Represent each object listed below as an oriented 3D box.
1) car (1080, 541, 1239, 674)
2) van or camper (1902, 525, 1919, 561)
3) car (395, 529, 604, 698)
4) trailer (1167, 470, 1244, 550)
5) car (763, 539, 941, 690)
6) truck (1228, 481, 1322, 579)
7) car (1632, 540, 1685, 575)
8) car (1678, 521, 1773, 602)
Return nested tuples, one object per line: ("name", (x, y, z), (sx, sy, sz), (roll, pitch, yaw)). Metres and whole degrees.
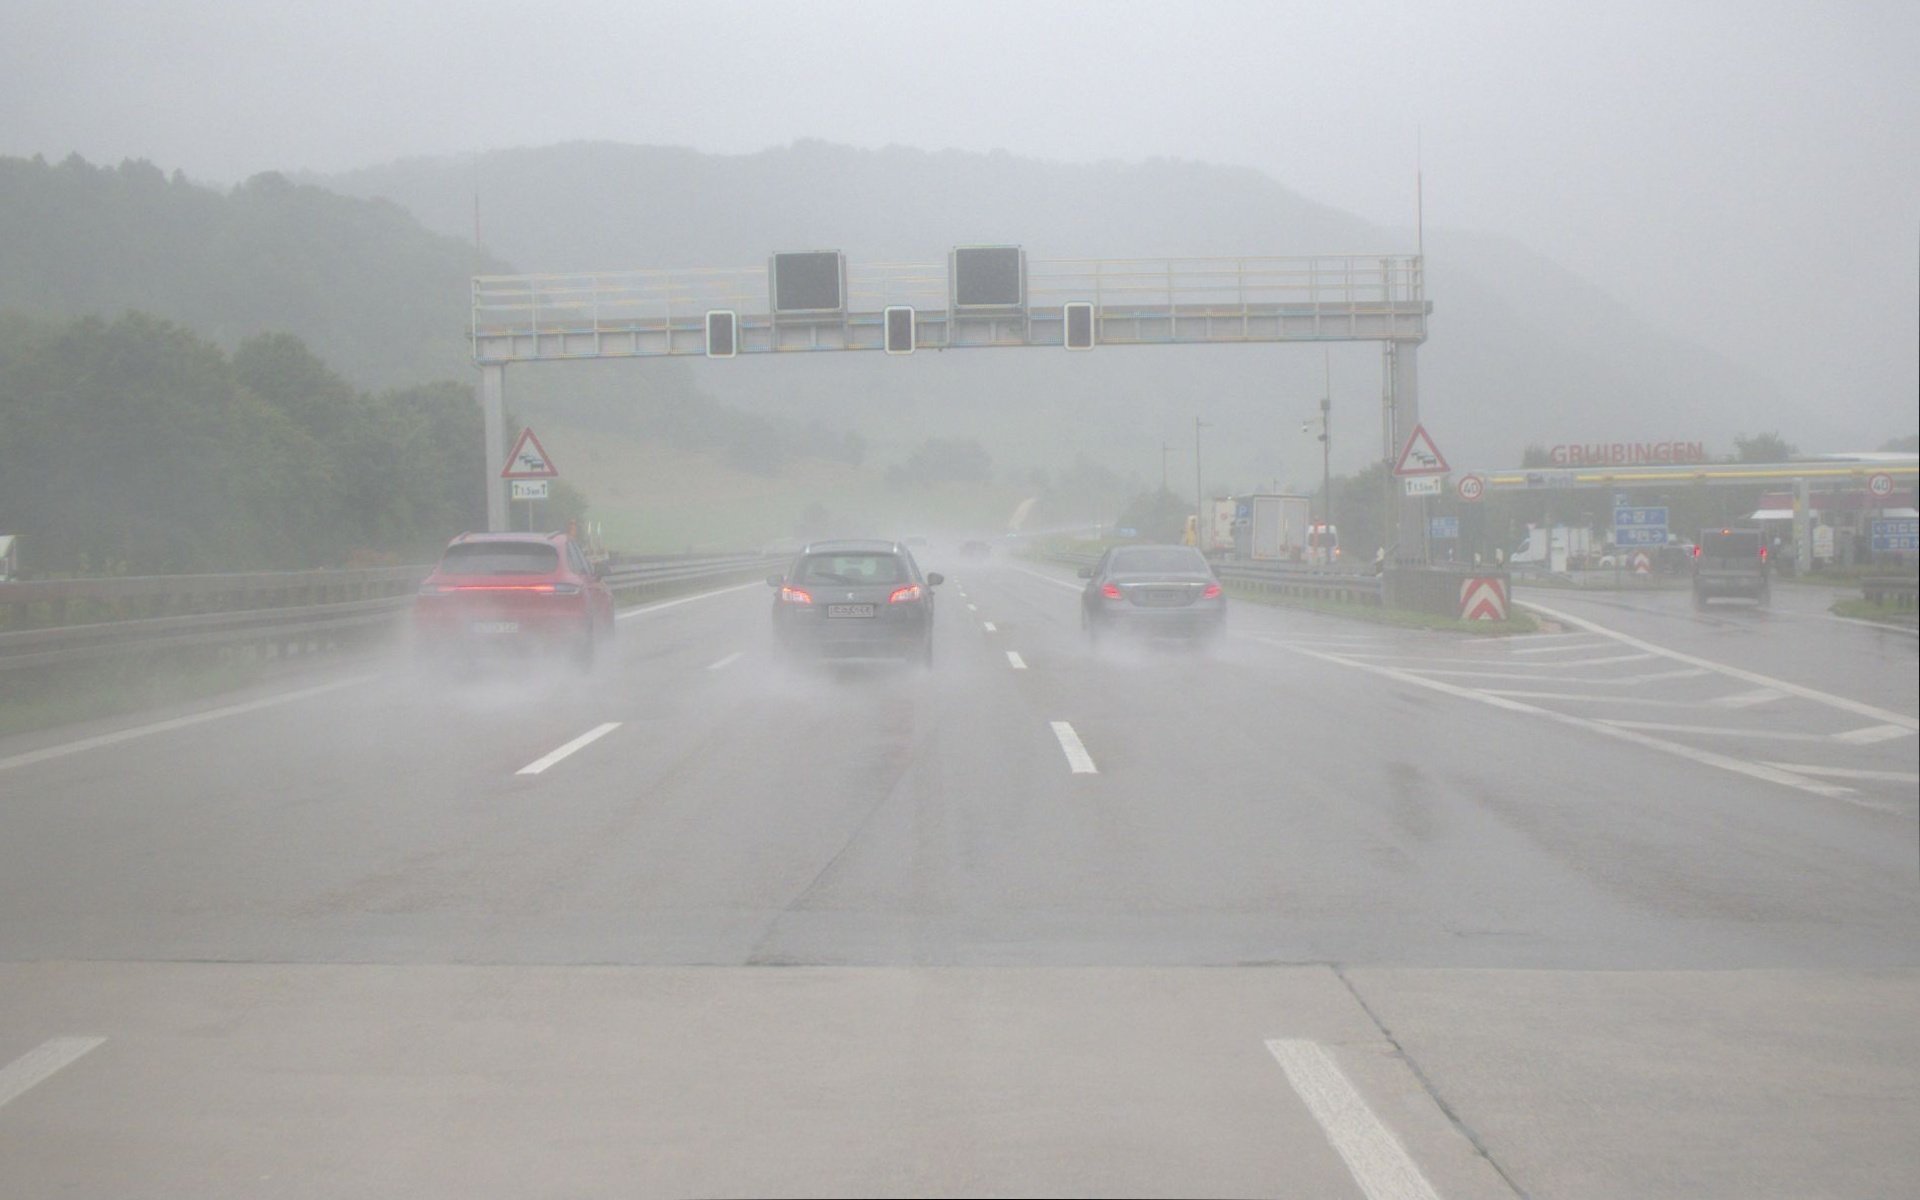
("car", (2.739, 0.064, 48.020), (1.971, 1.754, 4.000), (0, 1, 0))
("van or camper", (54.047, -3.162, 191.434), (1.993, 2.007, 4.000), (1, 1, -1))
("car", (-5.137, 0.106, 38.848), (1.884, 1.809, 4.000), (0, 1, -1))
("trailer", (13.742, -4.979, 193.300), (3.516, 4.247, 11.920), (1, 1, 1))
("car", (-1.172, 0.134, 38.910), (1.859, 1.584, 4.000), (1, 1, 0))
("truck", (14.882, -3.319, 163.257), (3.401, 4.387, 11.049), (2, 1, 0))
("car", (40.583, -2.468, 199.724), (1.993, 2.007, 4.901), (1, 1, -1))
("car", (19.643, -1.023, 88.367), (1.994, 2.007, 5.053), (1, 1, 8))
